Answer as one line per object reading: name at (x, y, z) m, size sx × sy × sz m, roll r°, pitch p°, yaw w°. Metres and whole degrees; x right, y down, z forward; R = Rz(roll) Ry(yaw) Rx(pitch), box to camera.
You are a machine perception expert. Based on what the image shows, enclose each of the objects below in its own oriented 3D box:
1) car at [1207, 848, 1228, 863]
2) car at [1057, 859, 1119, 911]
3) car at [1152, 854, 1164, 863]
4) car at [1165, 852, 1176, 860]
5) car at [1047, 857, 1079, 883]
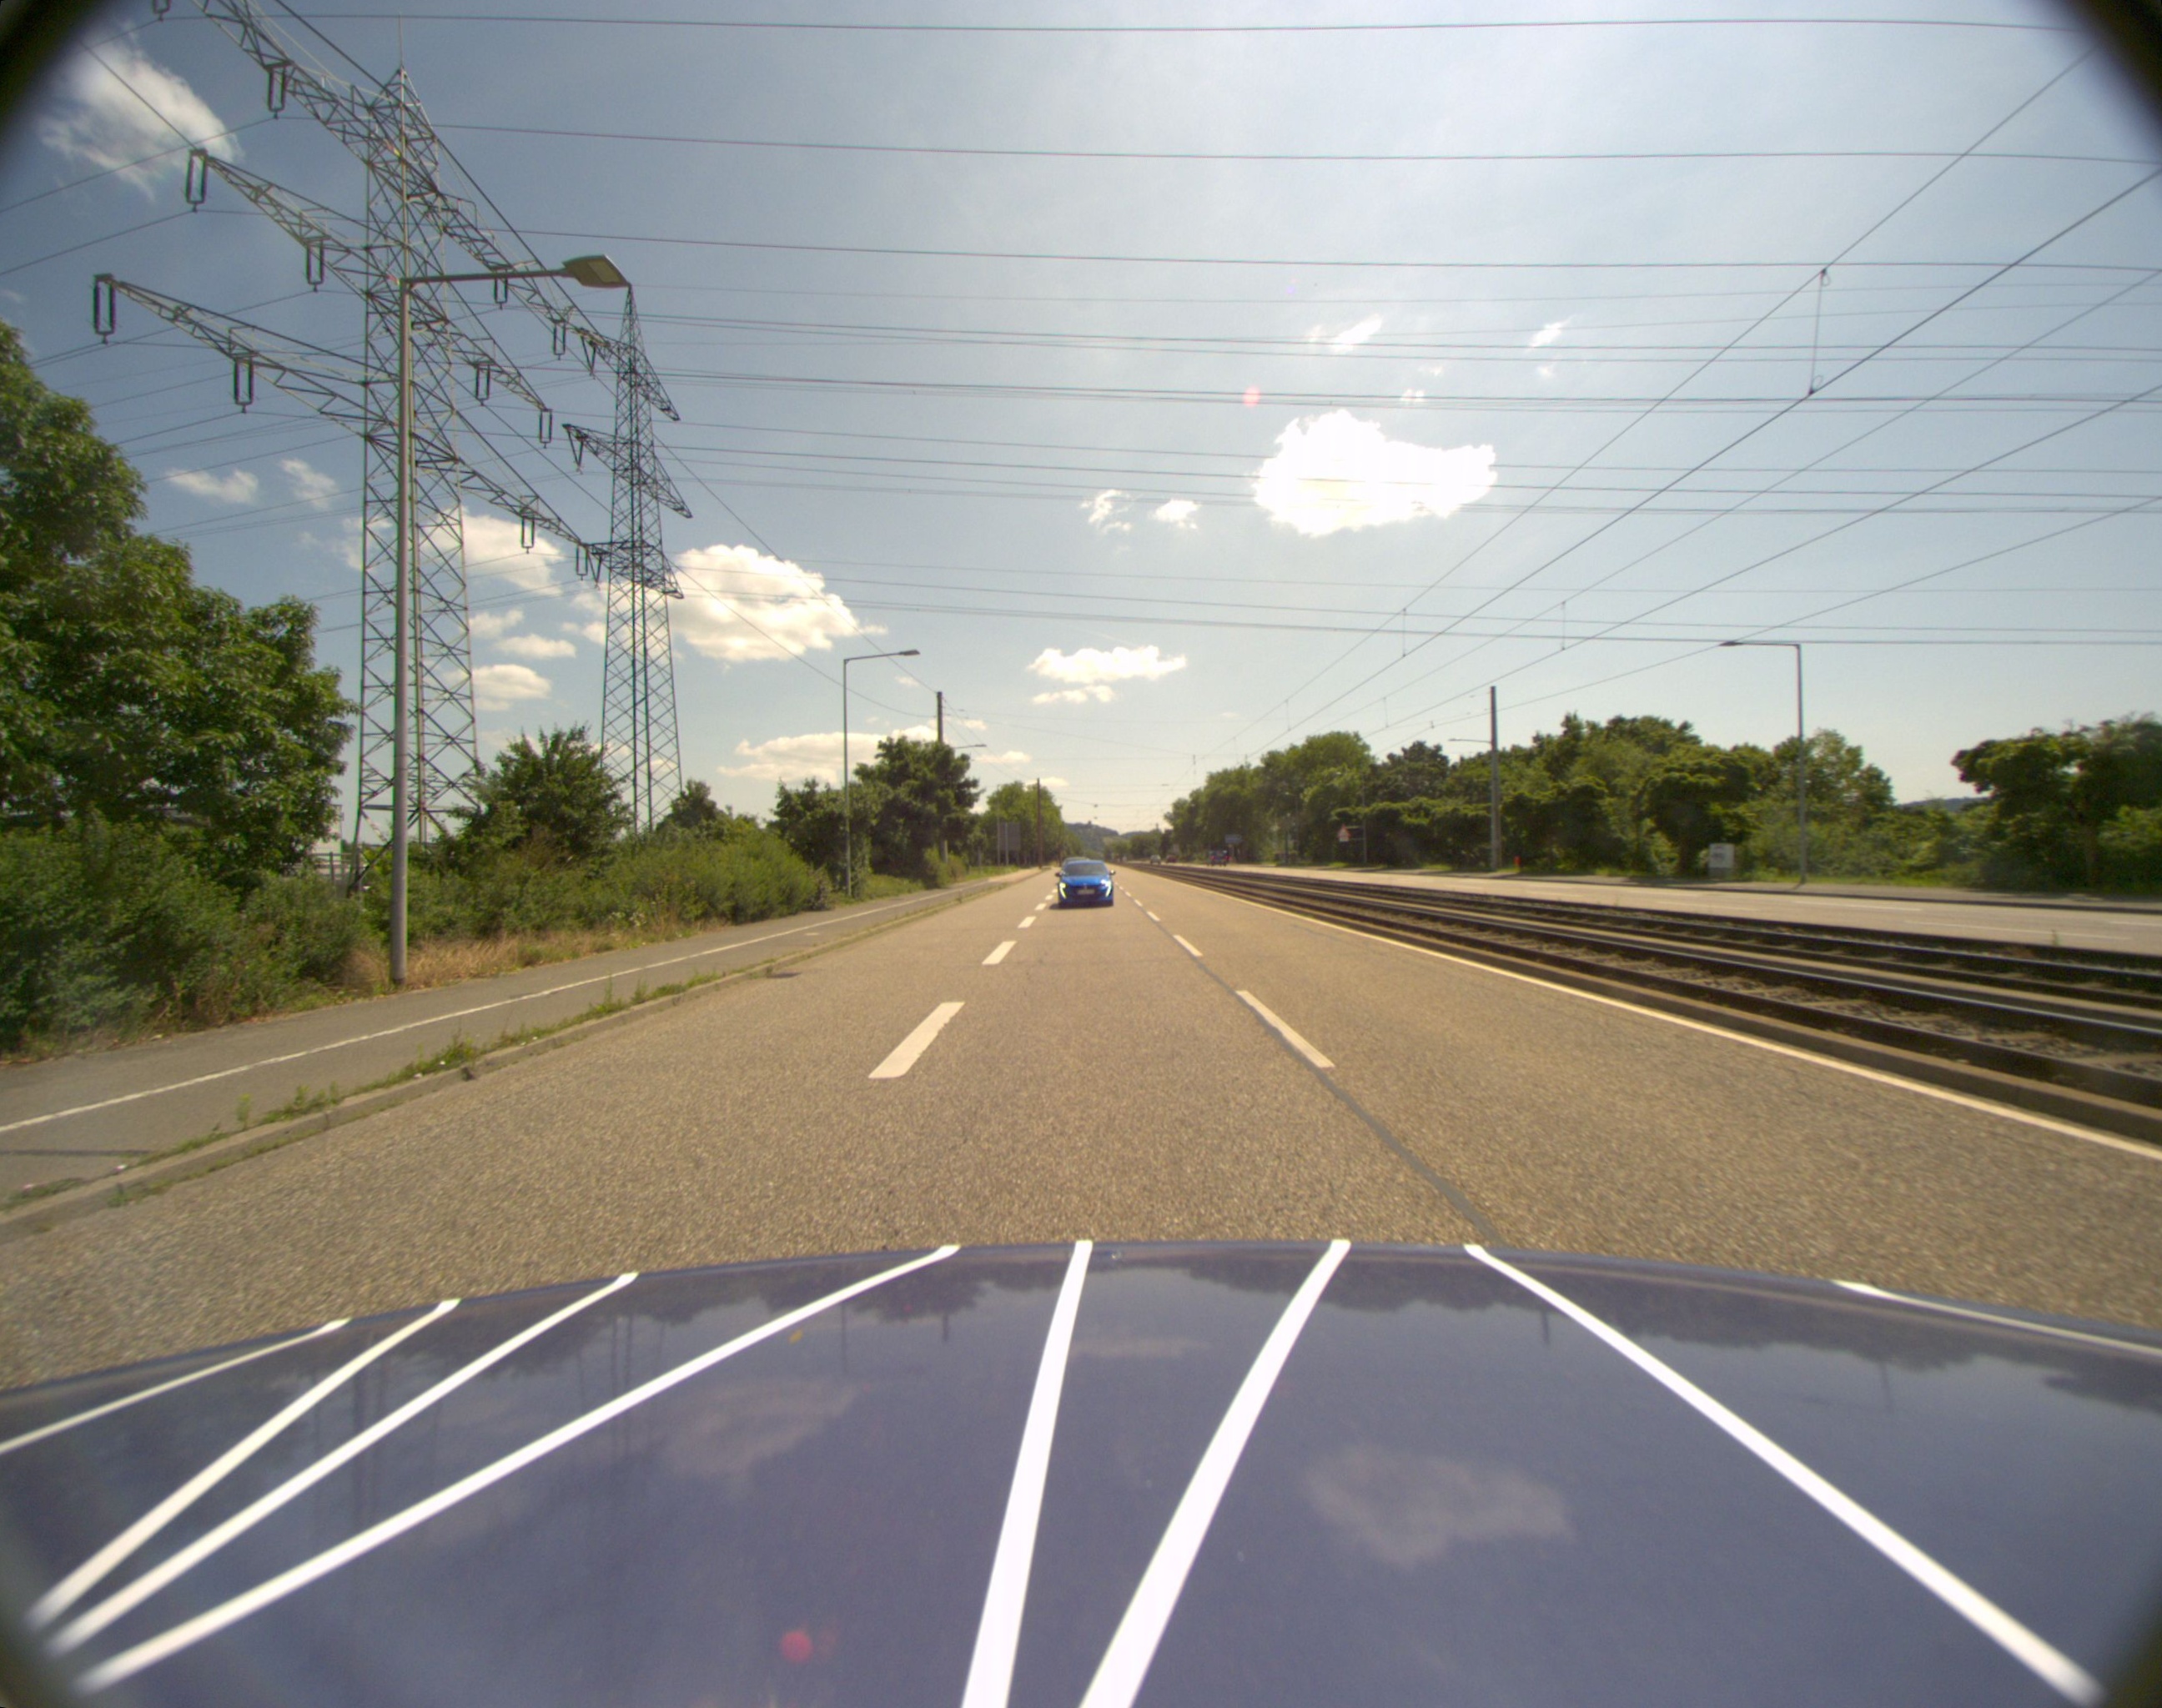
car at (17.582, 0.175, 98.397) m, size 1.862 × 1.916 × 5.008 m, roll 0°, pitch 0°, yaw 0°
car at (0.231, 0.937, 24.881) m, size 1.771 × 1.463 × 4.467 m, roll -2°, pitch 0°, yaw 1°
car at (14.724, 0.856, 145.874) m, size 1.806 × 1.616 × 4.494 m, roll 0°, pitch 0°, yaw 0°
car at (18.193, 0.483, 154.990) m, size 1.806 × 1.616 × 4.211 m, roll 0°, pitch 0°, yaw 0°
car at (-1.078, 0.954, 46.840) m, size 1.771 × 1.422 × 4.000 m, roll -2°, pitch 0°, yaw 1°
